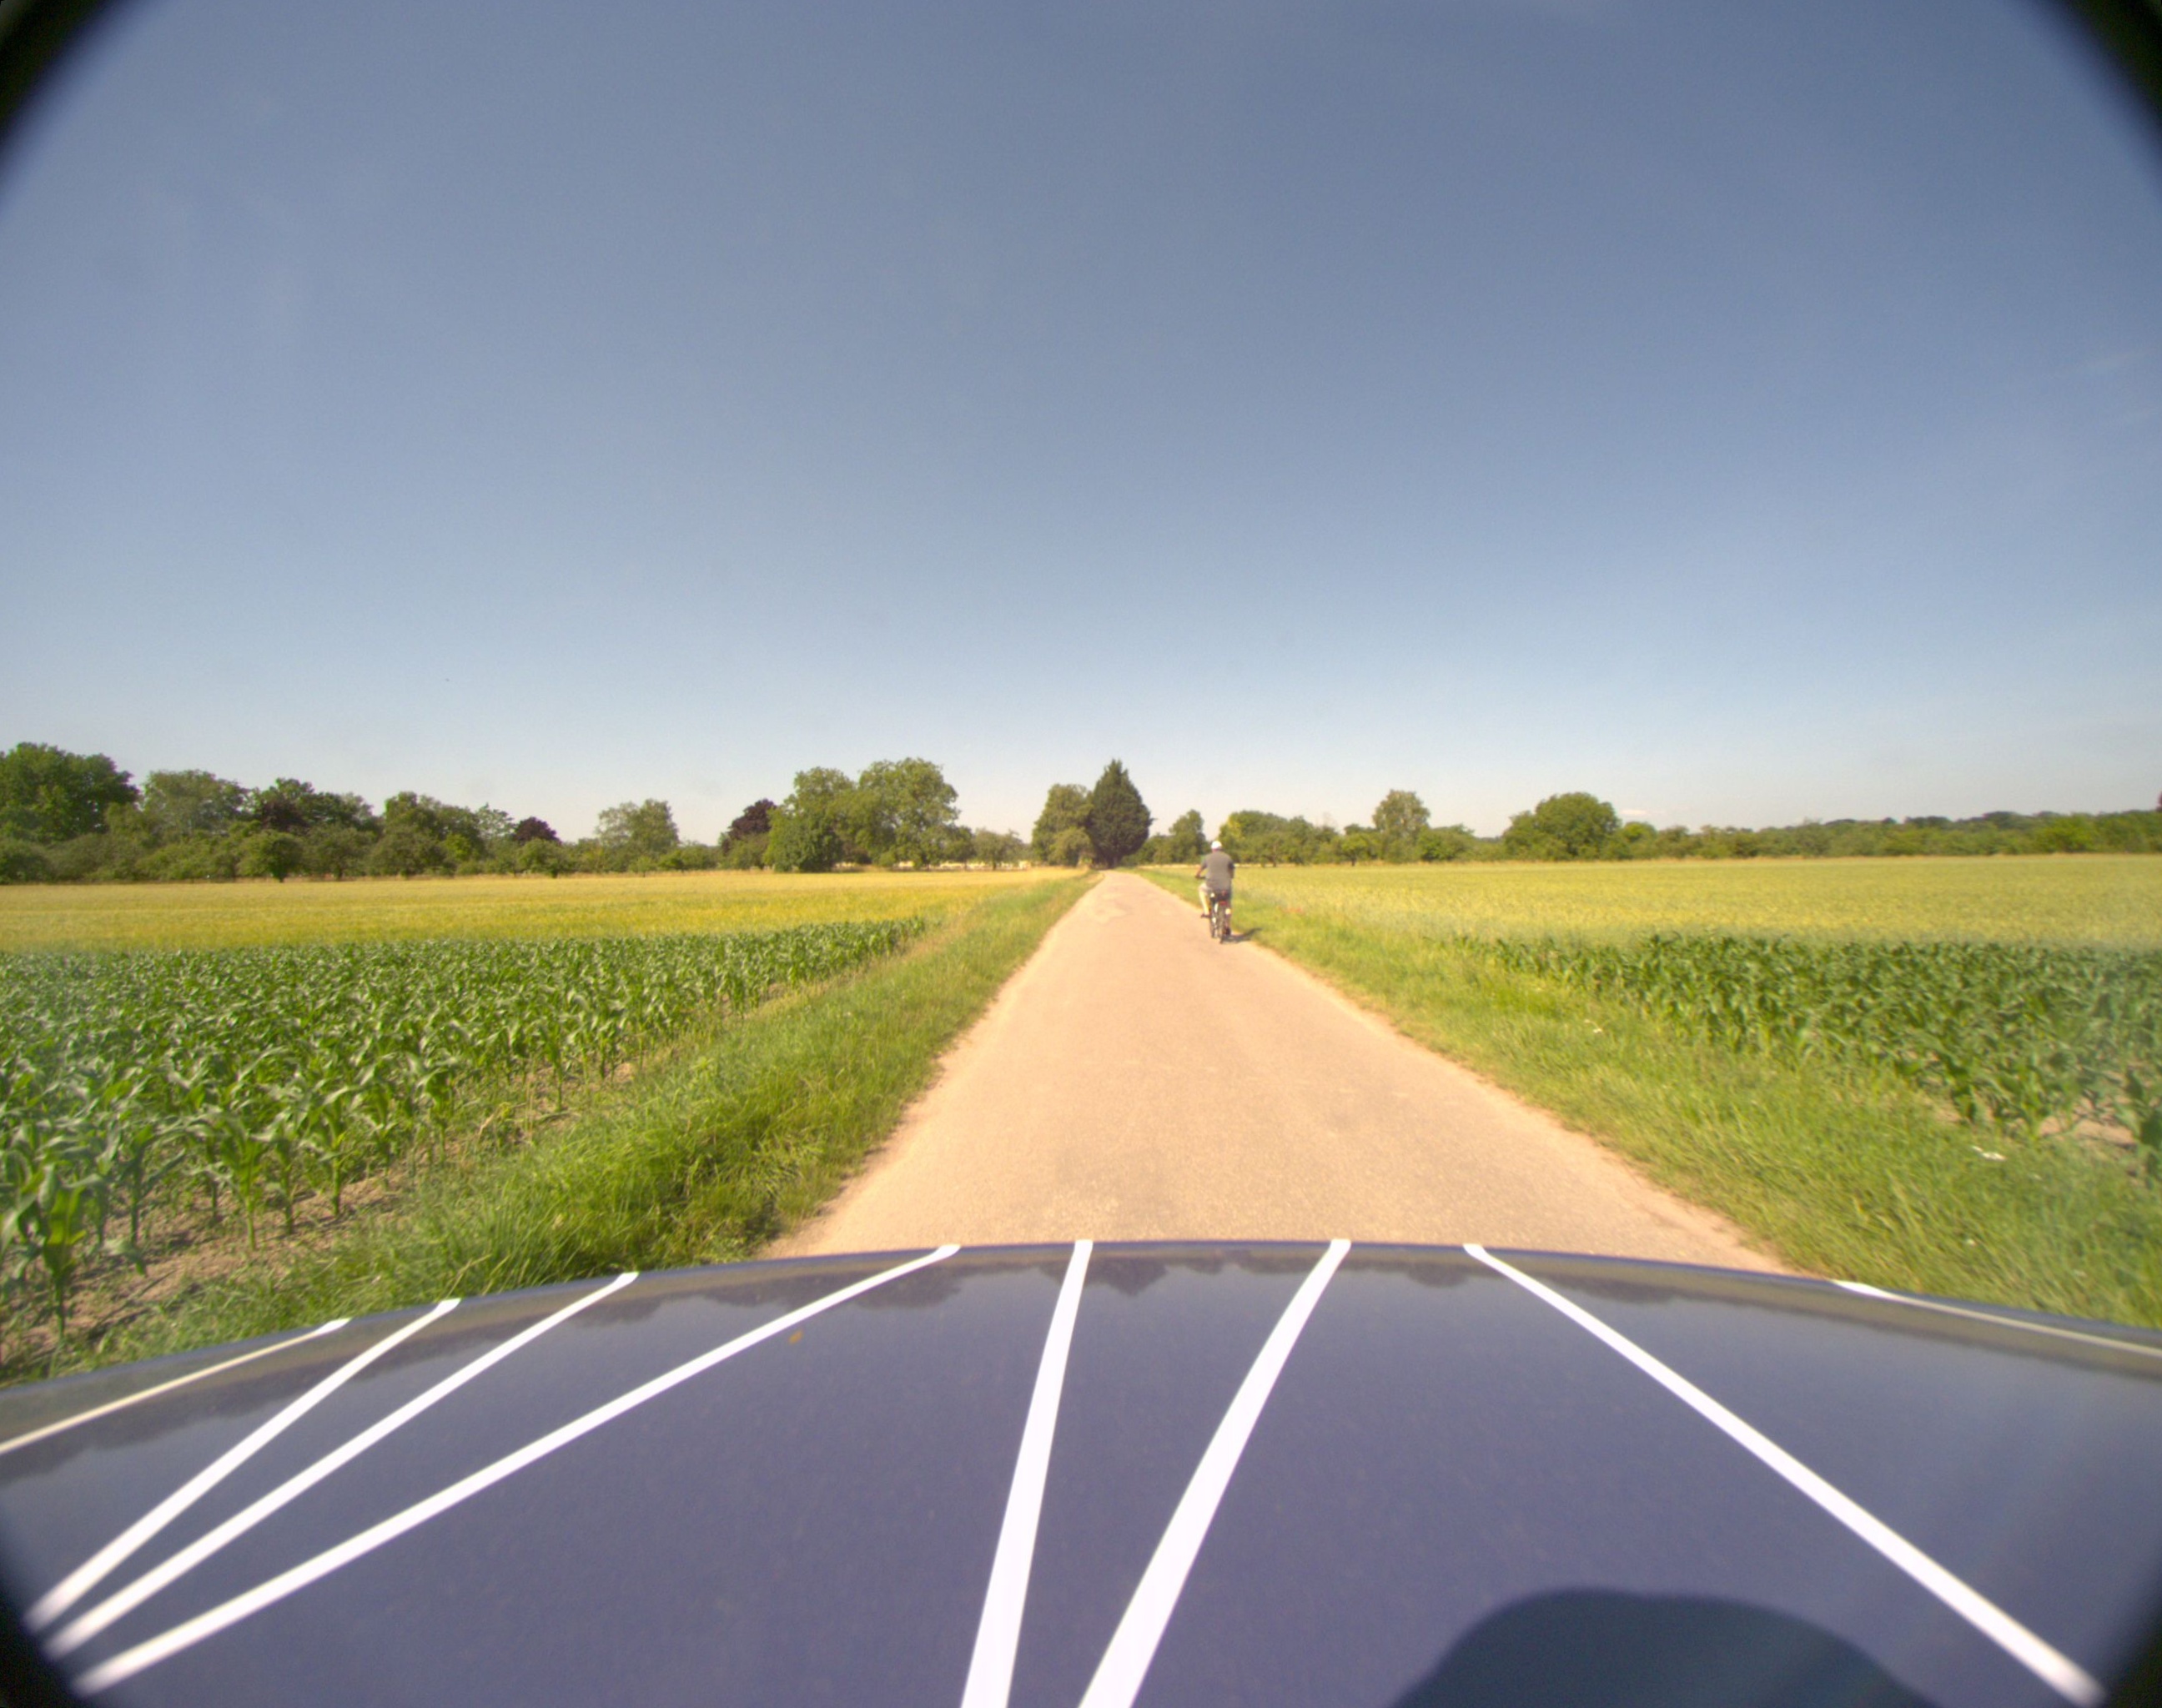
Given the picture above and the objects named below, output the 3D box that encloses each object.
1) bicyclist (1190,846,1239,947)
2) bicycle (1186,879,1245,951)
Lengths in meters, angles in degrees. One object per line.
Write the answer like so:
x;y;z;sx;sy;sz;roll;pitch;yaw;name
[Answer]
2.410;0.743;13.810;0.752;1.781;0.717;1;1;1;bicyclist
2.411;1.065;13.850;0.752;1.121;1.908;1;1;1;bicycle
